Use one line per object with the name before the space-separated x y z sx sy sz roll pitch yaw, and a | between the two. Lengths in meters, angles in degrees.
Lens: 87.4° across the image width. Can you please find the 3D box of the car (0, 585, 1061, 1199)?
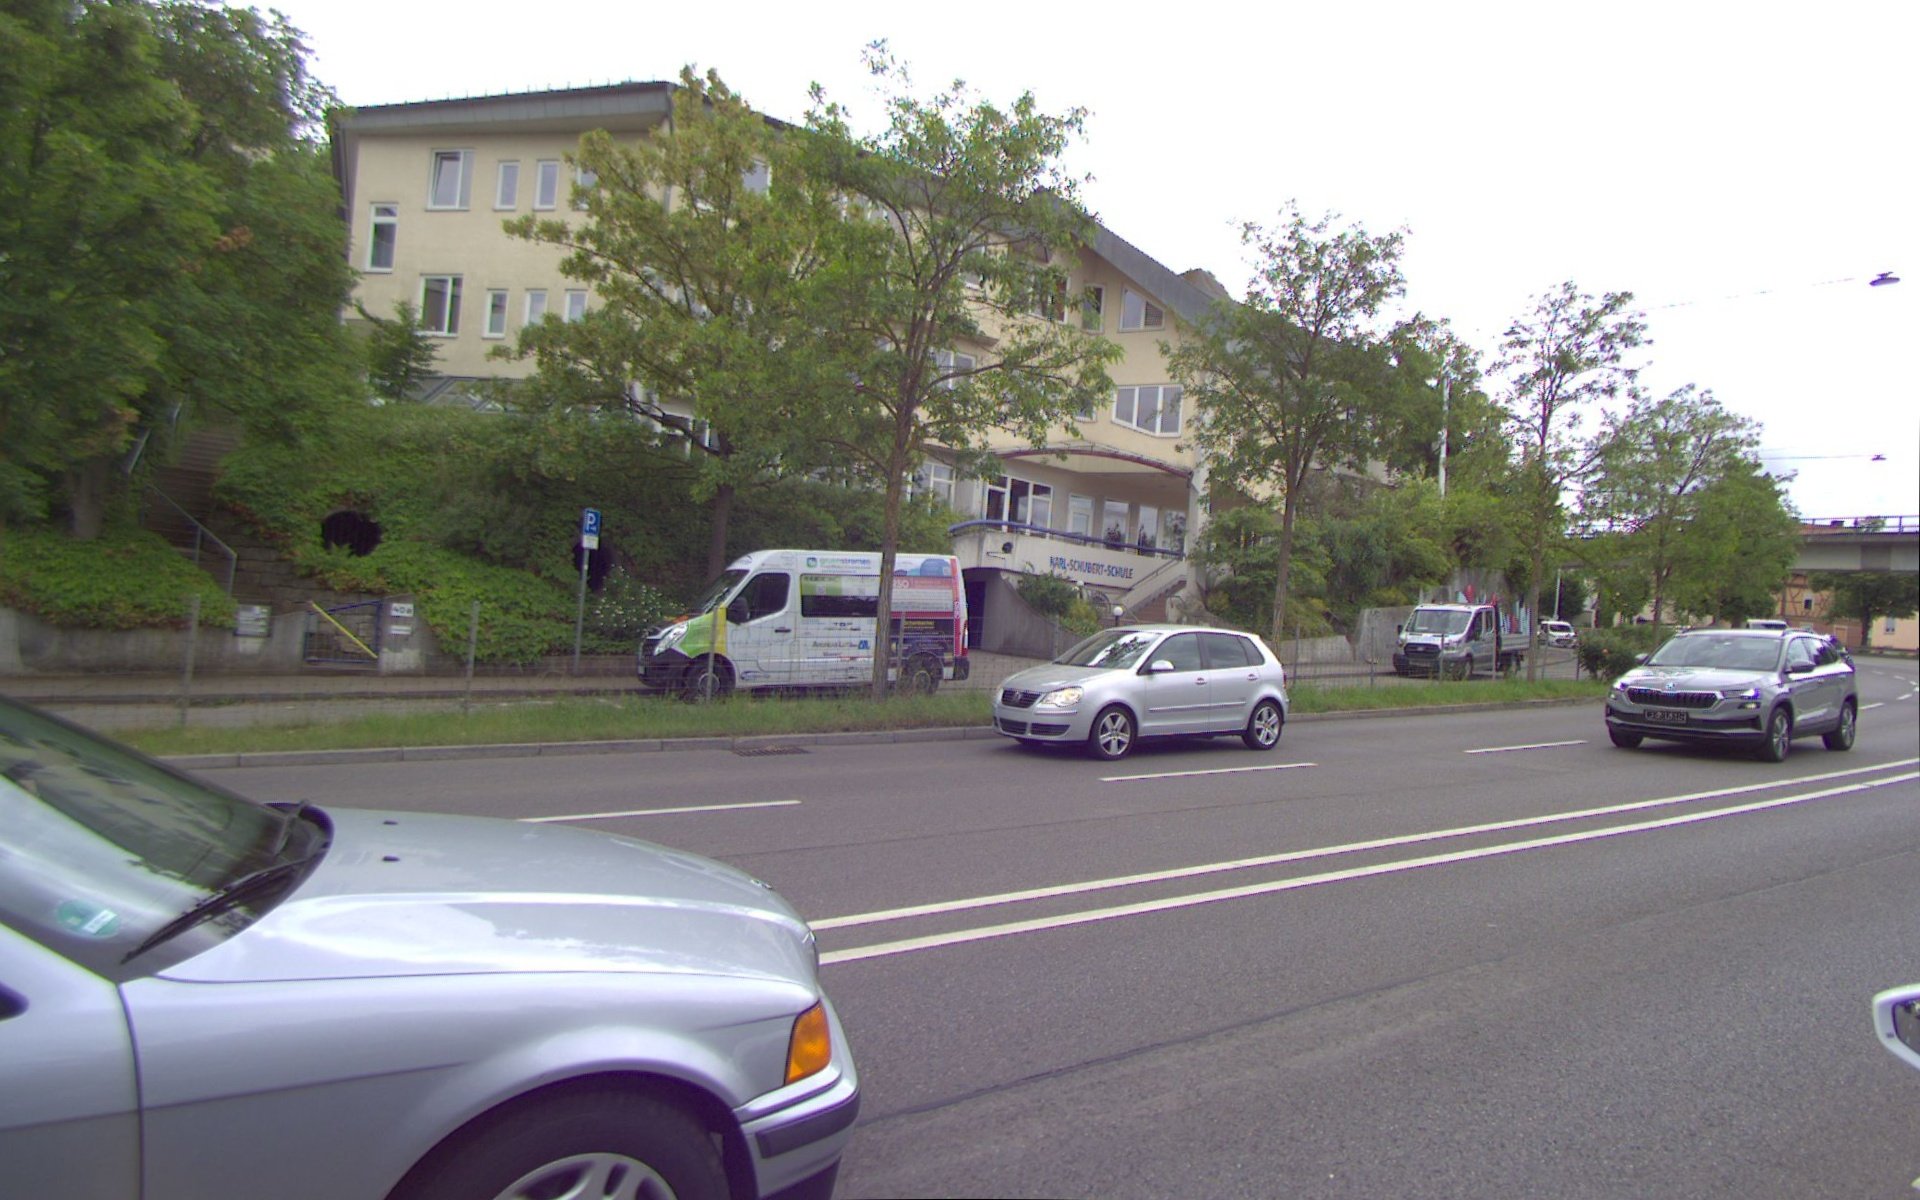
car | -2.170 0.673 1.696 4.567 1.401 1.626 2 0 -31

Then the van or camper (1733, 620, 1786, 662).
van or camper | 47.266 2.374 59.476 1.981 2.291 5.944 1 -1 34

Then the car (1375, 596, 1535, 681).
car | 15.195 1.169 30.613 6.282 2.303 2.246 3 -1 -43

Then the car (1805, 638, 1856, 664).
car | 52.277 3.015 60.380 1.711 1.433 4.417 0 -1 33

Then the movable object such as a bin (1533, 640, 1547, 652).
movable object such as a bin | 35.999 2.827 62.361 0.548 0.649 0.581 6 3 9

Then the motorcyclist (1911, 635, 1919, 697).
motorcyclist | 23.811 1.602 24.437 0.951 1.504 0.756 2 -3 -34

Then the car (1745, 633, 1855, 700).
car | 22.316 1.712 26.627 4.437 1.596 1.768 2 -2 -44

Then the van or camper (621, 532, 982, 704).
van or camper | -2.581 0.366 16.913 5.640 2.505 1.985 2 -1 -29

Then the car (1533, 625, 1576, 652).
car | 42.930 2.741 72.590 1.737 1.809 4.466 1 0 19

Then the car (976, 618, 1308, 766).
car | 2.233 1.004 11.934 3.850 1.450 1.556 2 0 -33

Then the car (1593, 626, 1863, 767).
car | 10.325 1.189 13.422 4.036 1.559 1.773 2 -1 -36
